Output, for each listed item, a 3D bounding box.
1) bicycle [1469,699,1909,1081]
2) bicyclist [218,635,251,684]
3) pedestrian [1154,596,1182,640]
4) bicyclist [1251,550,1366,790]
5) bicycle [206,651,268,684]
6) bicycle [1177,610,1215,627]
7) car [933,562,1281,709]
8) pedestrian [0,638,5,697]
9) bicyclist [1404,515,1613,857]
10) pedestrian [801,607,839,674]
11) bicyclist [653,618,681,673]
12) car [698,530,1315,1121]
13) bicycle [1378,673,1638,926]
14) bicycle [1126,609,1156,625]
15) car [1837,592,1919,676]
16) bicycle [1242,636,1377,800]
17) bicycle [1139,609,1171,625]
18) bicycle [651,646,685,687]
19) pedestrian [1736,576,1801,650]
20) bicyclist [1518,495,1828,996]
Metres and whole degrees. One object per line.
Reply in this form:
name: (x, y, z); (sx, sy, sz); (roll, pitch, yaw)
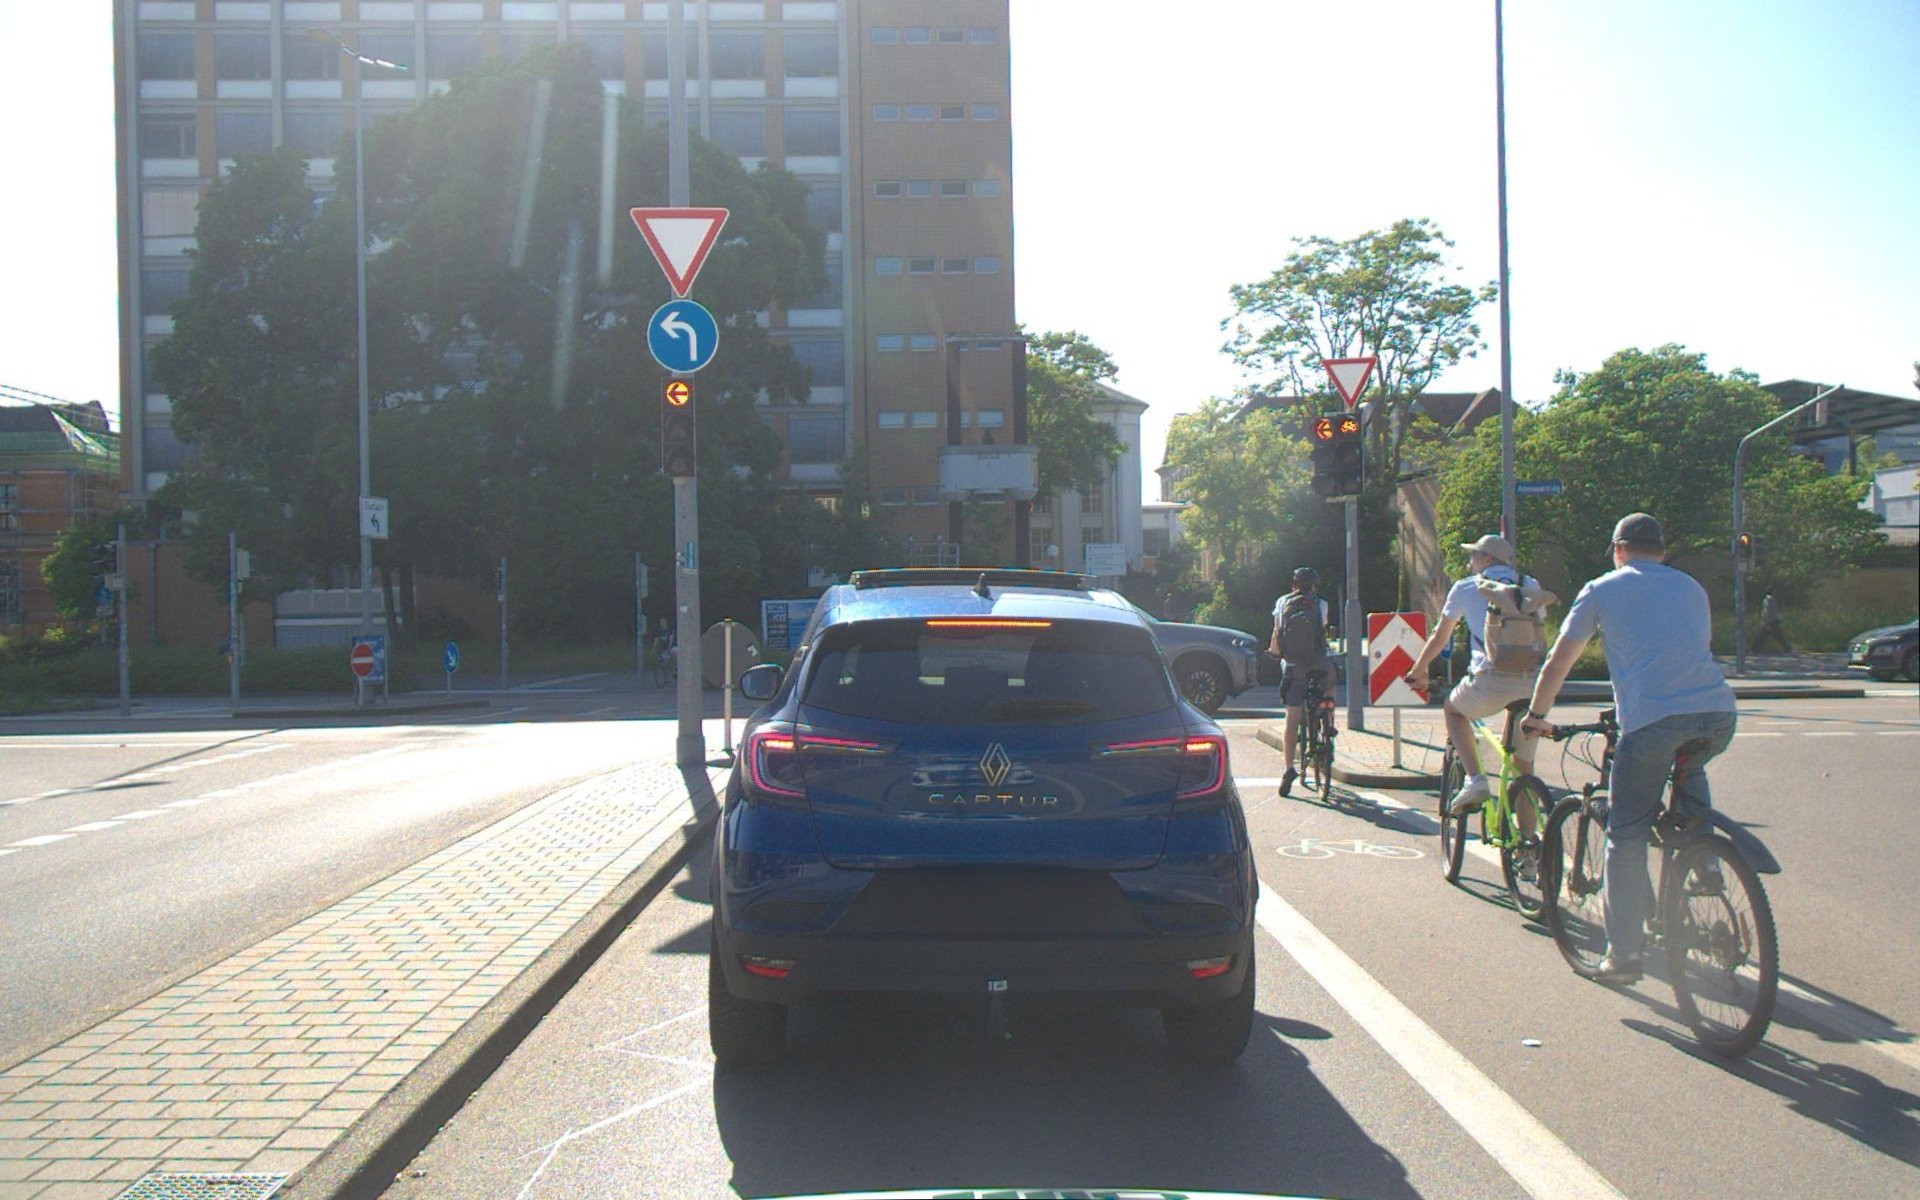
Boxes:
bicycle: (2.600, 0.971, 6.180); (0.732, 1.069, 1.902); (-1, 0, -2)
bicyclist: (-21.761, 1.782, 49.628); (0.624, 1.437, 0.648); (-1, 0, 25)
pedestrian: (9.881, 0.848, 78.606); (1.132, 2.049, 1.164); (-1, 0, -1)
bicyclist: (2.737, 0.533, 13.048); (0.663, 1.816, 0.939); (1, -1, -2)
bicycle: (-21.715, 2.022, 49.647); (1.827, 0.975, 0.623); (-1, 0, 24)
bicycle: (11.861, 0.928, 83.208); (1.739, 0.837, 0.763); (-1, 0, -11)
car: (2.078, 0.492, 23.228); (4.626, 1.893, 2.006); (-1, 0, 8)
pedestrian: (-33.637, 2.348, 56.925); (0.807, 2.049, 1.014); (-1, 0, 23)
bicyclist: (2.750, 0.408, 8.391); (0.660, 1.610, 1.081); (1, 0, -2)
pedestrian: (-4.012, 1.147, 47.469); (0.912, 1.888, 0.808); (-1, 0, 8)
bicyclist: (-7.712, 1.203, 43.539); (0.637, 1.437, 0.635); (-1, -3, -17)
car: (0.085, 0.641, 6.674); (1.758, 1.684, 3.852); (1, 0, -2)
bicycle: (2.738, 0.954, 8.482); (0.657, 1.069, 1.843); (1, 0, -2)
bicycle: (10.858, 1.011, 99.358); (1.735, 0.908, 0.765); (-1, 0, -1)
car: (19.740, 0.634, 32.627); (3.902, 1.598, 1.837); (-1, 0, 8)
bicycle: (2.709, 0.881, 12.981); (0.602, 1.158, 1.825); (0, 0, -2)
bicycle: (11.204, 0.980, 94.999); (1.735, 0.914, 0.765); (-1, 0, -1)
bicycle: (-7.702, 1.764, 43.538); (0.687, 1.025, 1.860); (-1, -3, -16)
pedestrian: (21.028, 0.340, 43.047); (1.269, 1.888, 0.967); (-1, 0, 11)
bicyclist: (2.596, 0.497, 6.112); (0.725, 1.703, 0.865); (-1, 0, -3)
